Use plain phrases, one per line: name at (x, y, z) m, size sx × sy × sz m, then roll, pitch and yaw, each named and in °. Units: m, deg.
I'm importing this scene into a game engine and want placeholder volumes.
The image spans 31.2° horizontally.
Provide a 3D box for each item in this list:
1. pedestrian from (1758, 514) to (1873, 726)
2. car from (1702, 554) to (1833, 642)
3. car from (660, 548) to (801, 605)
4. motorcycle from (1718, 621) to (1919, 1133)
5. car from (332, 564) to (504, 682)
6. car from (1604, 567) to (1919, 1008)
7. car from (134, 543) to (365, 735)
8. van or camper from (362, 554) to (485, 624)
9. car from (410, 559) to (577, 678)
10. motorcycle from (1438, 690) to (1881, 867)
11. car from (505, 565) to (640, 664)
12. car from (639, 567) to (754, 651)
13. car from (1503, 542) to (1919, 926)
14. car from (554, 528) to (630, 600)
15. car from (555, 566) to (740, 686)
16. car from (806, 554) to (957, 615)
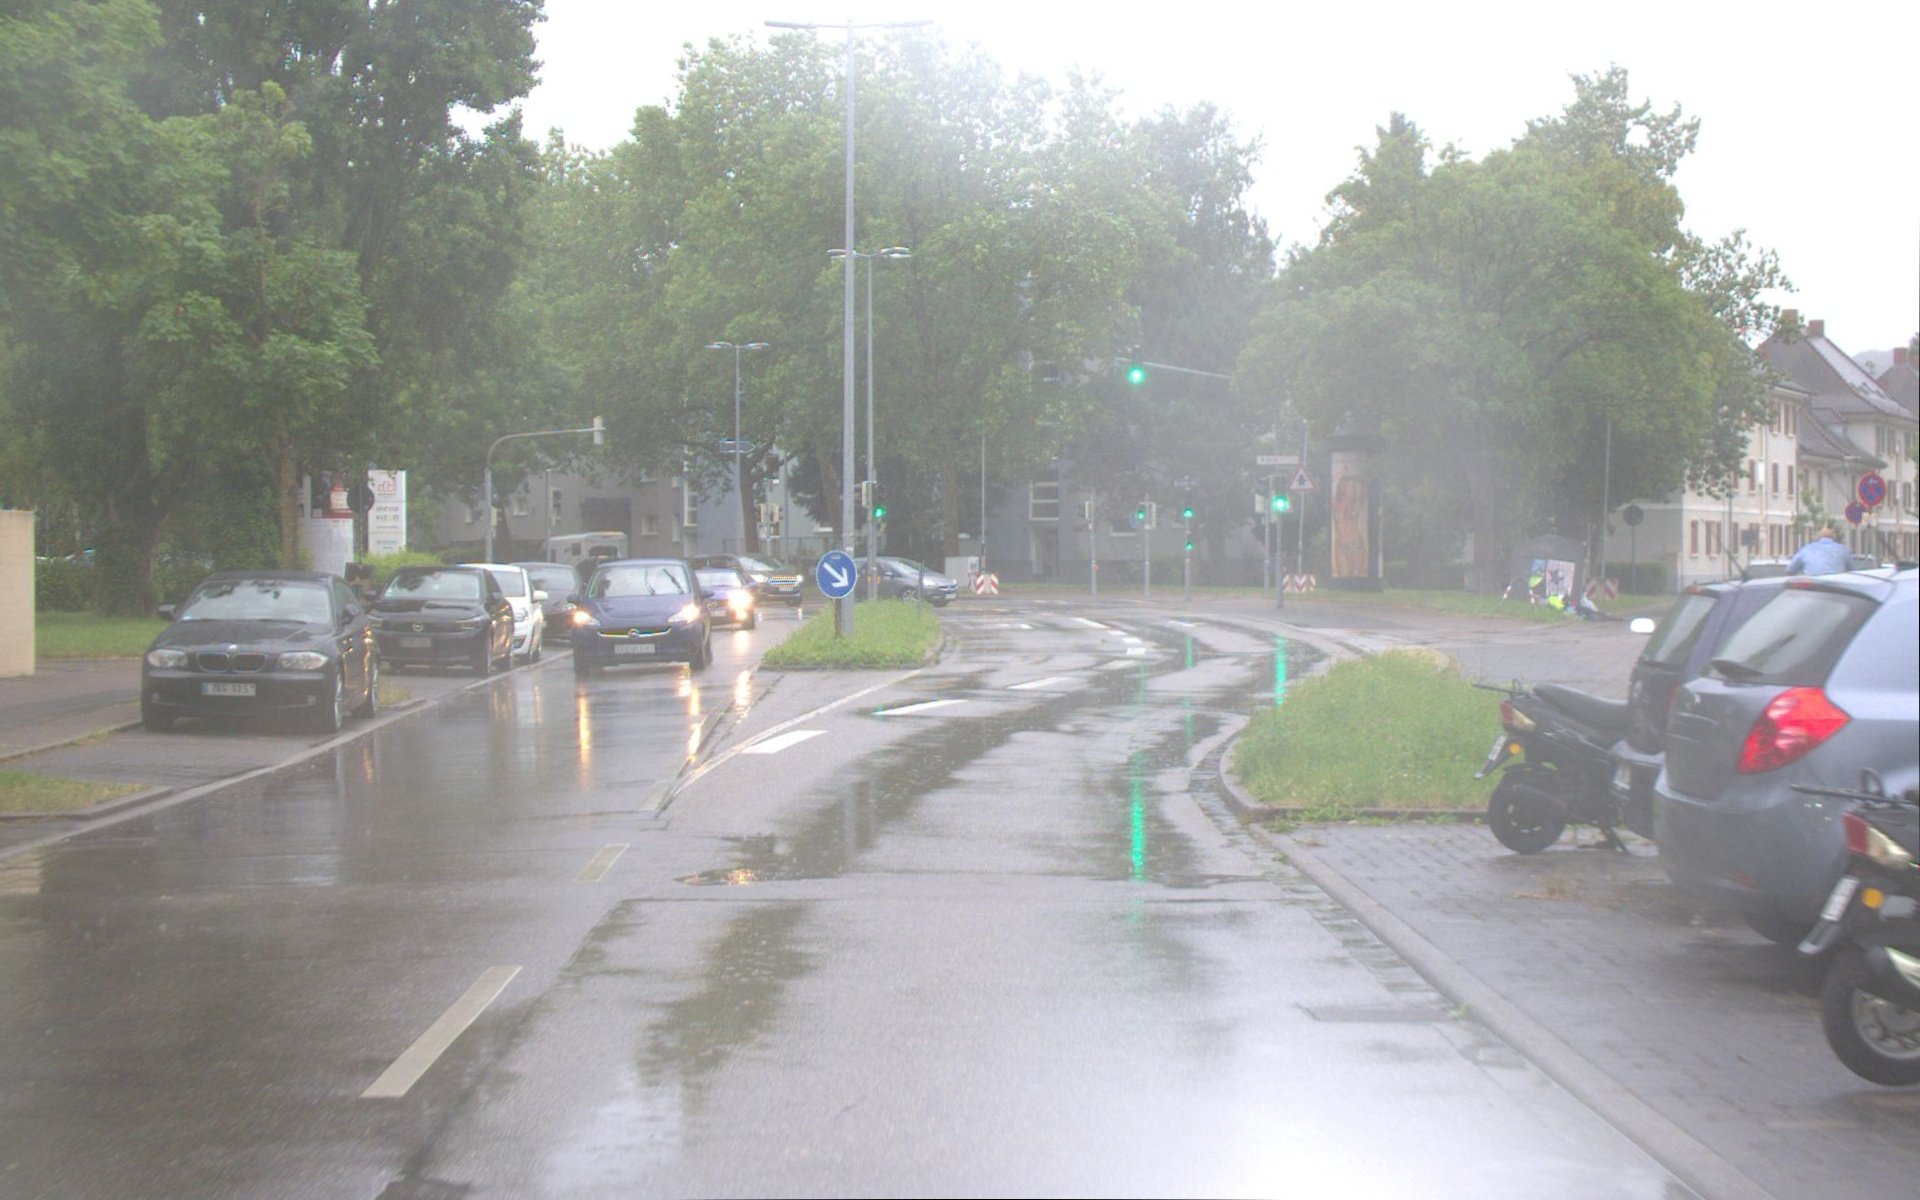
pedestrian at (8.272, 0.182, 33.221) m, size 1.011 × 2.007 × 0.951 m, roll 1°, pitch 0°, yaw 17°
car at (16.404, -0.049, 69.724) m, size 1.996 × 1.711 × 3.995 m, roll 1°, pitch 0°, yaw 22°
car at (-7.028, -0.731, 105.160) m, size 3.993 × 1.683 × 1.743 m, roll 1°, pitch 0°, yaw 29°
motorcycle at (3.414, 0.736, 9.498) m, size 2.398 × 1.319 × 0.920 m, roll 1°, pitch 0°, yaw -5°
car at (-7.211, 0.272, 46.053) m, size 1.928 × 1.479 × 4.001 m, roll -1°, pitch 1°, yaw -4°
car at (4.504, 0.635, 12.384) m, size 3.987 × 1.456 × 1.935 m, roll 1°, pitch 0°, yaw 0°
car at (-6.390, 0.306, 31.255) m, size 1.775 × 1.524 × 4.001 m, roll 1°, pitch 2°, yaw -8°
van or camper at (-15.578, -0.340, 99.981) m, size 1.995 × 2.007 × 3.997 m, roll 0°, pitch 1°, yaw 17°
car at (-7.059, 0.255, 52.371) m, size 1.927 × 1.725 × 4.000 m, roll 1°, pitch 0°, yaw 1°
motorcycle at (3.430, 0.873, 17.002) m, size 2.073 × 0.790 × 0.710 m, roll 1°, pitch 1°, yaw 6°
car at (-7.020, 0.241, 62.647) m, size 1.927 × 1.725 × 4.000 m, roll 1°, pitch 0°, yaw 1°
car at (-5.491, 0.170, 72.114) m, size 1.927 × 1.686 × 4.000 m, roll 1°, pitch 0°, yaw 2°
car at (4.415, 0.553, 14.793) m, size 3.988 × 1.547 × 1.745 m, roll 1°, pitch 0°, yaw 6°
car at (-16.797, -1.637, 156.858) m, size 2.219 × 3.226 × 4.671 m, roll 1°, pitch 0°, yaw -22°
car at (-4.060, 0.315, 45.287) m, size 1.993 × 1.480 × 4.000 m, roll 1°, pitch 0°, yaw 1°
car at (-2.243, -0.455, 98.469) m, size 3.994 × 1.683 × 1.743 m, roll 1°, pitch 0°, yaw 31°
